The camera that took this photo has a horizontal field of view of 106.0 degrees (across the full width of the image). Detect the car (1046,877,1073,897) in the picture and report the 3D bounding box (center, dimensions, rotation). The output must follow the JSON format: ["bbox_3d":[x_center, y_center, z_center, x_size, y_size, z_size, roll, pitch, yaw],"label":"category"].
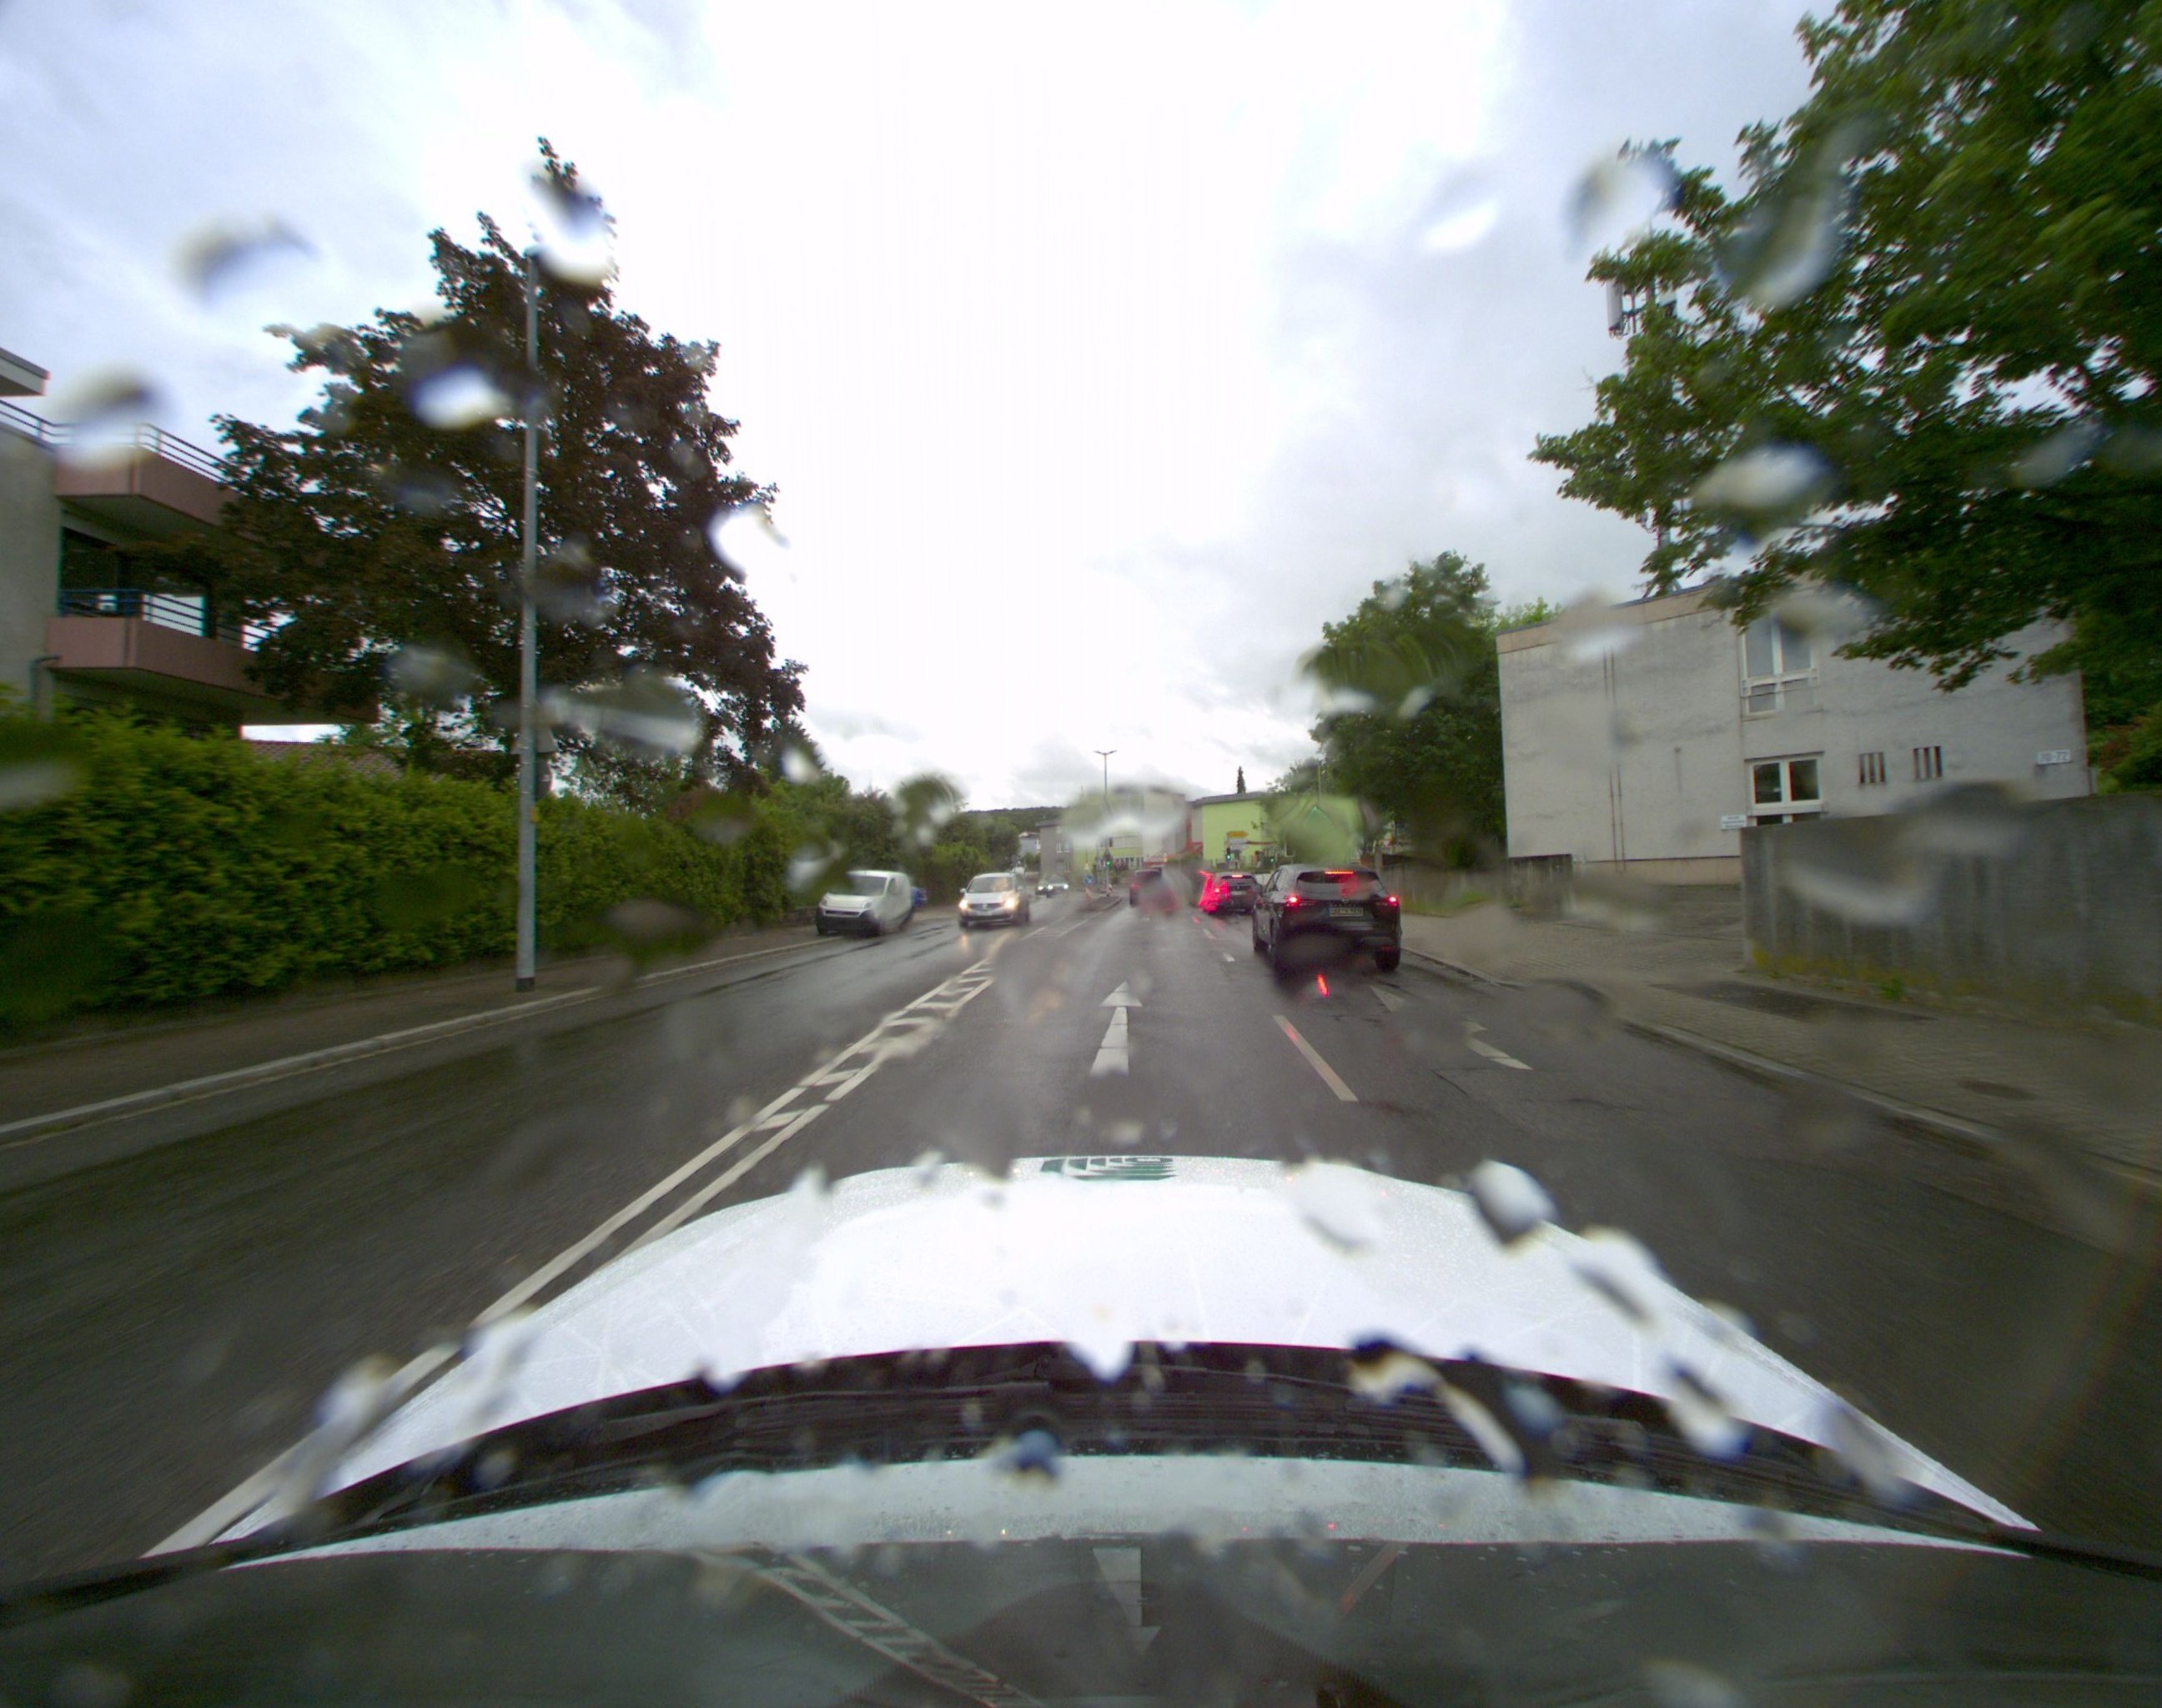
[{"bbox_3d":[-2.005,2.994,74.689,2.038,1.716,4.472,-3,-1,-5],"label":"car"}]

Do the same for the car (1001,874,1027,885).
[{"bbox_3d":[-12.193,4.621,147.715,4.399,1.772,1.991,-3,-2,-12],"label":"car"}]

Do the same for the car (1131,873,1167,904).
[{"bbox_3d":[3.500,1.750,42.412,1.676,1.506,3.774,0,-1,1],"label":"car"}]

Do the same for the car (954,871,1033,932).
[{"bbox_3d":[-2.549,1.362,24.652,1.628,1.580,4.060,-4,-1,3],"label":"car"}]

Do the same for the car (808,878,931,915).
[{"bbox_3d":[-8.486,1.689,32.966,4.470,1.362,1.804,1,0,-2],"label":"car"}]

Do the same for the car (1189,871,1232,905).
[{"bbox_3d":[5.990,1.544,38.001,1.698,1.427,4.515,-2,-2,6],"label":"car"}]

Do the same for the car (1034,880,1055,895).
[{"bbox_3d":[-4.020,3.618,89.052,1.991,1.574,3.991,0,-2,-6],"label":"car"}]

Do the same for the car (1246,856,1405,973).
[{"bbox_3d":[3.851,0.846,13.524,1.781,1.603,4.261,0,0,6],"label":"car"}]

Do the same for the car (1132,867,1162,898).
[{"bbox_3d":[4.113,1.733,51.006,1.710,1.844,4.089,0,0,2],"label":"car"}]

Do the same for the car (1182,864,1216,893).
[{"bbox_3d":[7.398,1.503,51.227,1.775,1.734,4.090,0,-1,3],"label":"car"}]

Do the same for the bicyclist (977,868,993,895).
[{"bbox_3d":[-5.708,1.619,48.425,0.761,1.612,0.869,-1,-2,3],"label":"bicyclist"}]

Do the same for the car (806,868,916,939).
[{"bbox_3d":[-5.934,1.284,22.474,1.693,1.708,3.981,2,-1,3],"label":"car"}]

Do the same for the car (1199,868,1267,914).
[{"bbox_3d":[5.414,1.299,29.547,1.896,1.459,4.783,-2,-2,5],"label":"car"}]
